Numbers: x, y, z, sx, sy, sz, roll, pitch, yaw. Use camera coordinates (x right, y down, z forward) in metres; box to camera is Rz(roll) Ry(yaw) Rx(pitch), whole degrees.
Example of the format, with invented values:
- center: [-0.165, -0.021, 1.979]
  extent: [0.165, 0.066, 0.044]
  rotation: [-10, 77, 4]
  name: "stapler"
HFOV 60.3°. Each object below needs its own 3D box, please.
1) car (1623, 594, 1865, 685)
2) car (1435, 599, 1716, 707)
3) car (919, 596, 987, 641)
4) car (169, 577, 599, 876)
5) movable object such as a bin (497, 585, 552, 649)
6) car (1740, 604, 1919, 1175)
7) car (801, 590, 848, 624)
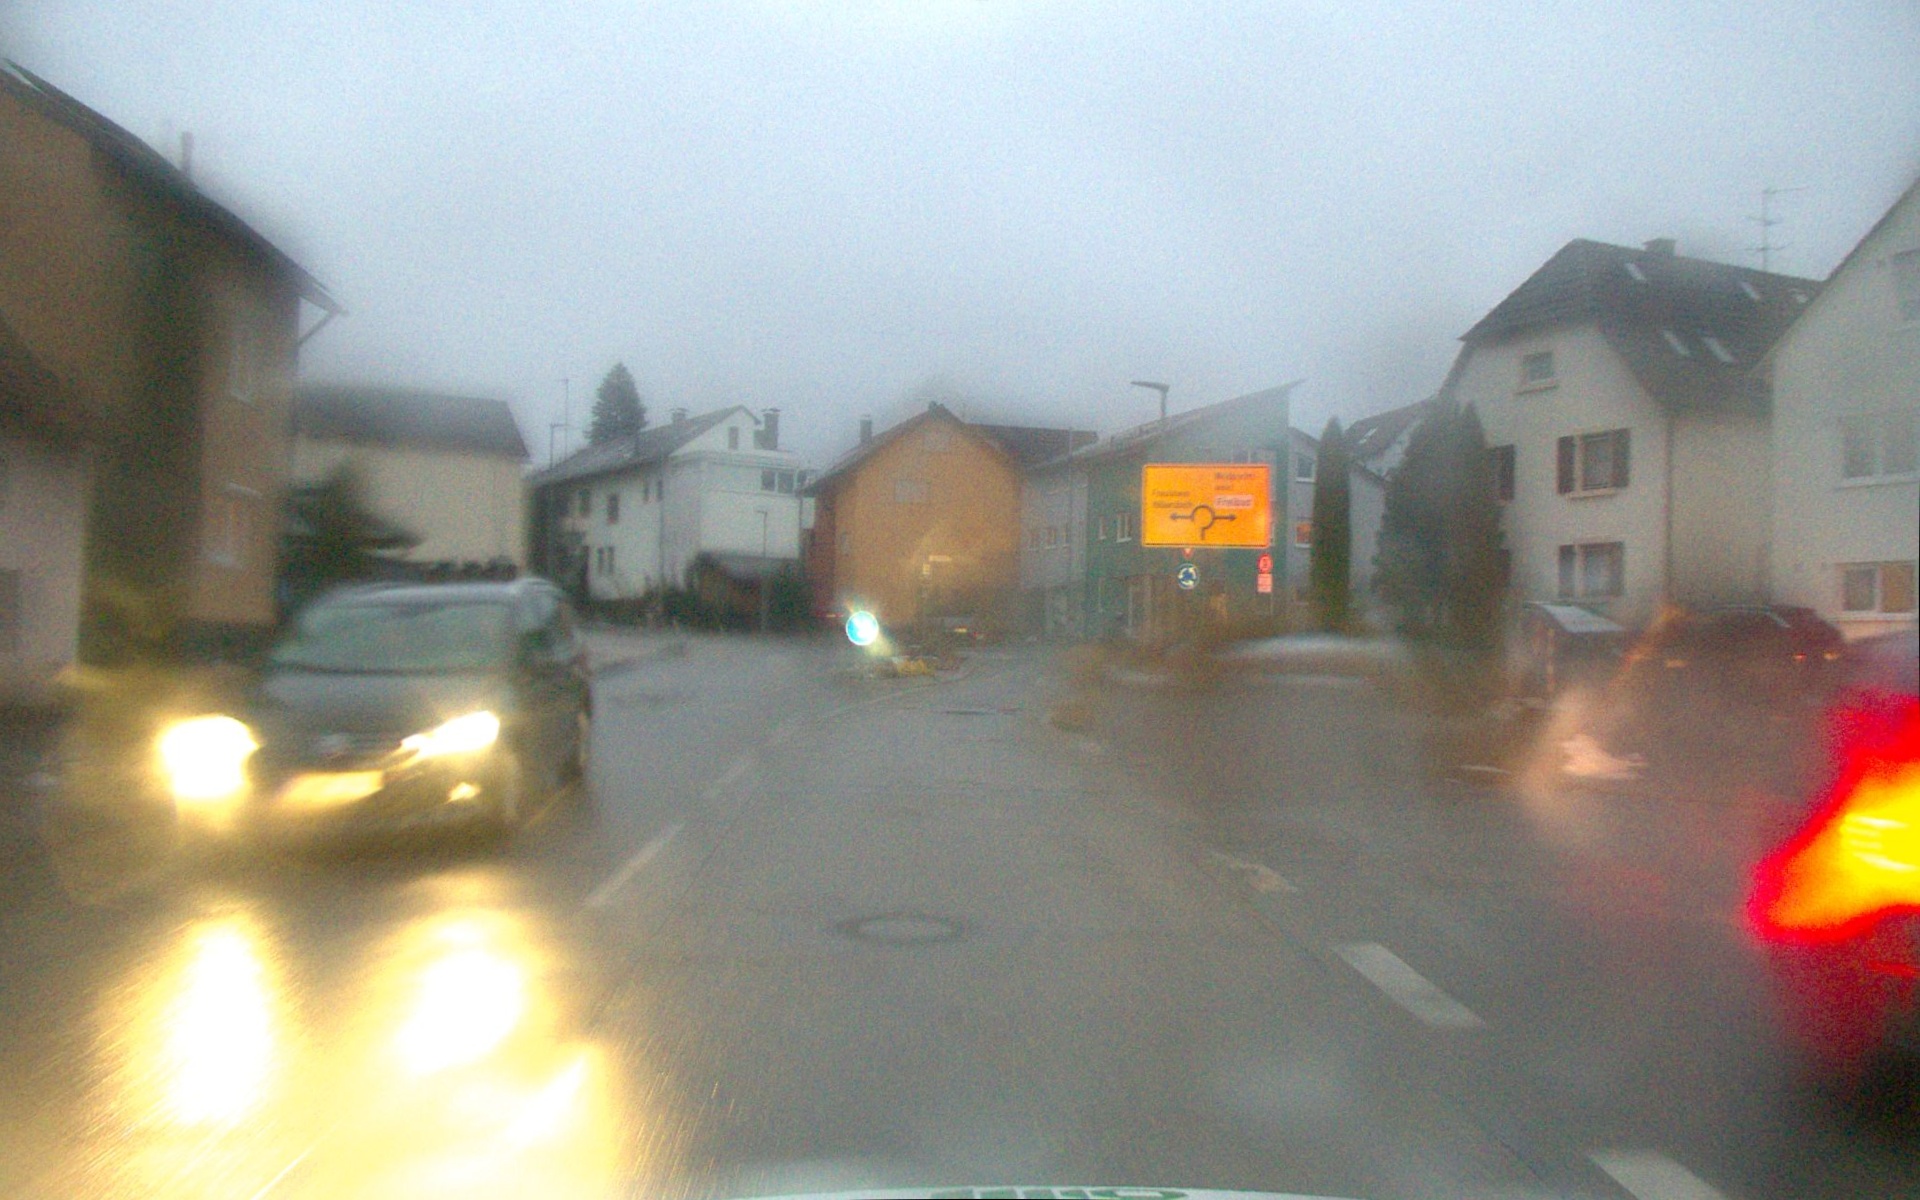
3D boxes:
- center: [15.047, 0.720, 31.951]
  extent: [1.788, 1.594, 3.964]
  rotation: [-1, 0, -27]
  name: "car"
- center: [10.465, 0.857, 28.467]
  extent: [1.788, 1.657, 4.510]
  rotation: [-1, 0, -27]
  name: "car"
- center: [-0.300, 0.735, 66.984]
  extent: [1.958, 1.673, 3.988]
  rotation: [1, 1, -12]
  name: "car"
- center: [-3.718, 0.710, 11.459]
  extent: [1.875, 1.682, 3.995]
  rotation: [1, 0, -6]
  name: "car"
- center: [-10.831, 0.414, 41.195]
  extent: [1.074, 1.570, 1.287]
  rotation: [1, 0, -4]
  name: "movable object such as a bin"
- center: [3.706, 0.779, 5.841]
  extent: [1.514, 1.491, 3.698]
  rotation: [1, 0, 22]
  name: "car"
- center: [-7.066, 0.336, 86.012]
  extent: [1.958, 1.673, 3.988]
  rotation: [1, 1, -12]
  name: "car"
